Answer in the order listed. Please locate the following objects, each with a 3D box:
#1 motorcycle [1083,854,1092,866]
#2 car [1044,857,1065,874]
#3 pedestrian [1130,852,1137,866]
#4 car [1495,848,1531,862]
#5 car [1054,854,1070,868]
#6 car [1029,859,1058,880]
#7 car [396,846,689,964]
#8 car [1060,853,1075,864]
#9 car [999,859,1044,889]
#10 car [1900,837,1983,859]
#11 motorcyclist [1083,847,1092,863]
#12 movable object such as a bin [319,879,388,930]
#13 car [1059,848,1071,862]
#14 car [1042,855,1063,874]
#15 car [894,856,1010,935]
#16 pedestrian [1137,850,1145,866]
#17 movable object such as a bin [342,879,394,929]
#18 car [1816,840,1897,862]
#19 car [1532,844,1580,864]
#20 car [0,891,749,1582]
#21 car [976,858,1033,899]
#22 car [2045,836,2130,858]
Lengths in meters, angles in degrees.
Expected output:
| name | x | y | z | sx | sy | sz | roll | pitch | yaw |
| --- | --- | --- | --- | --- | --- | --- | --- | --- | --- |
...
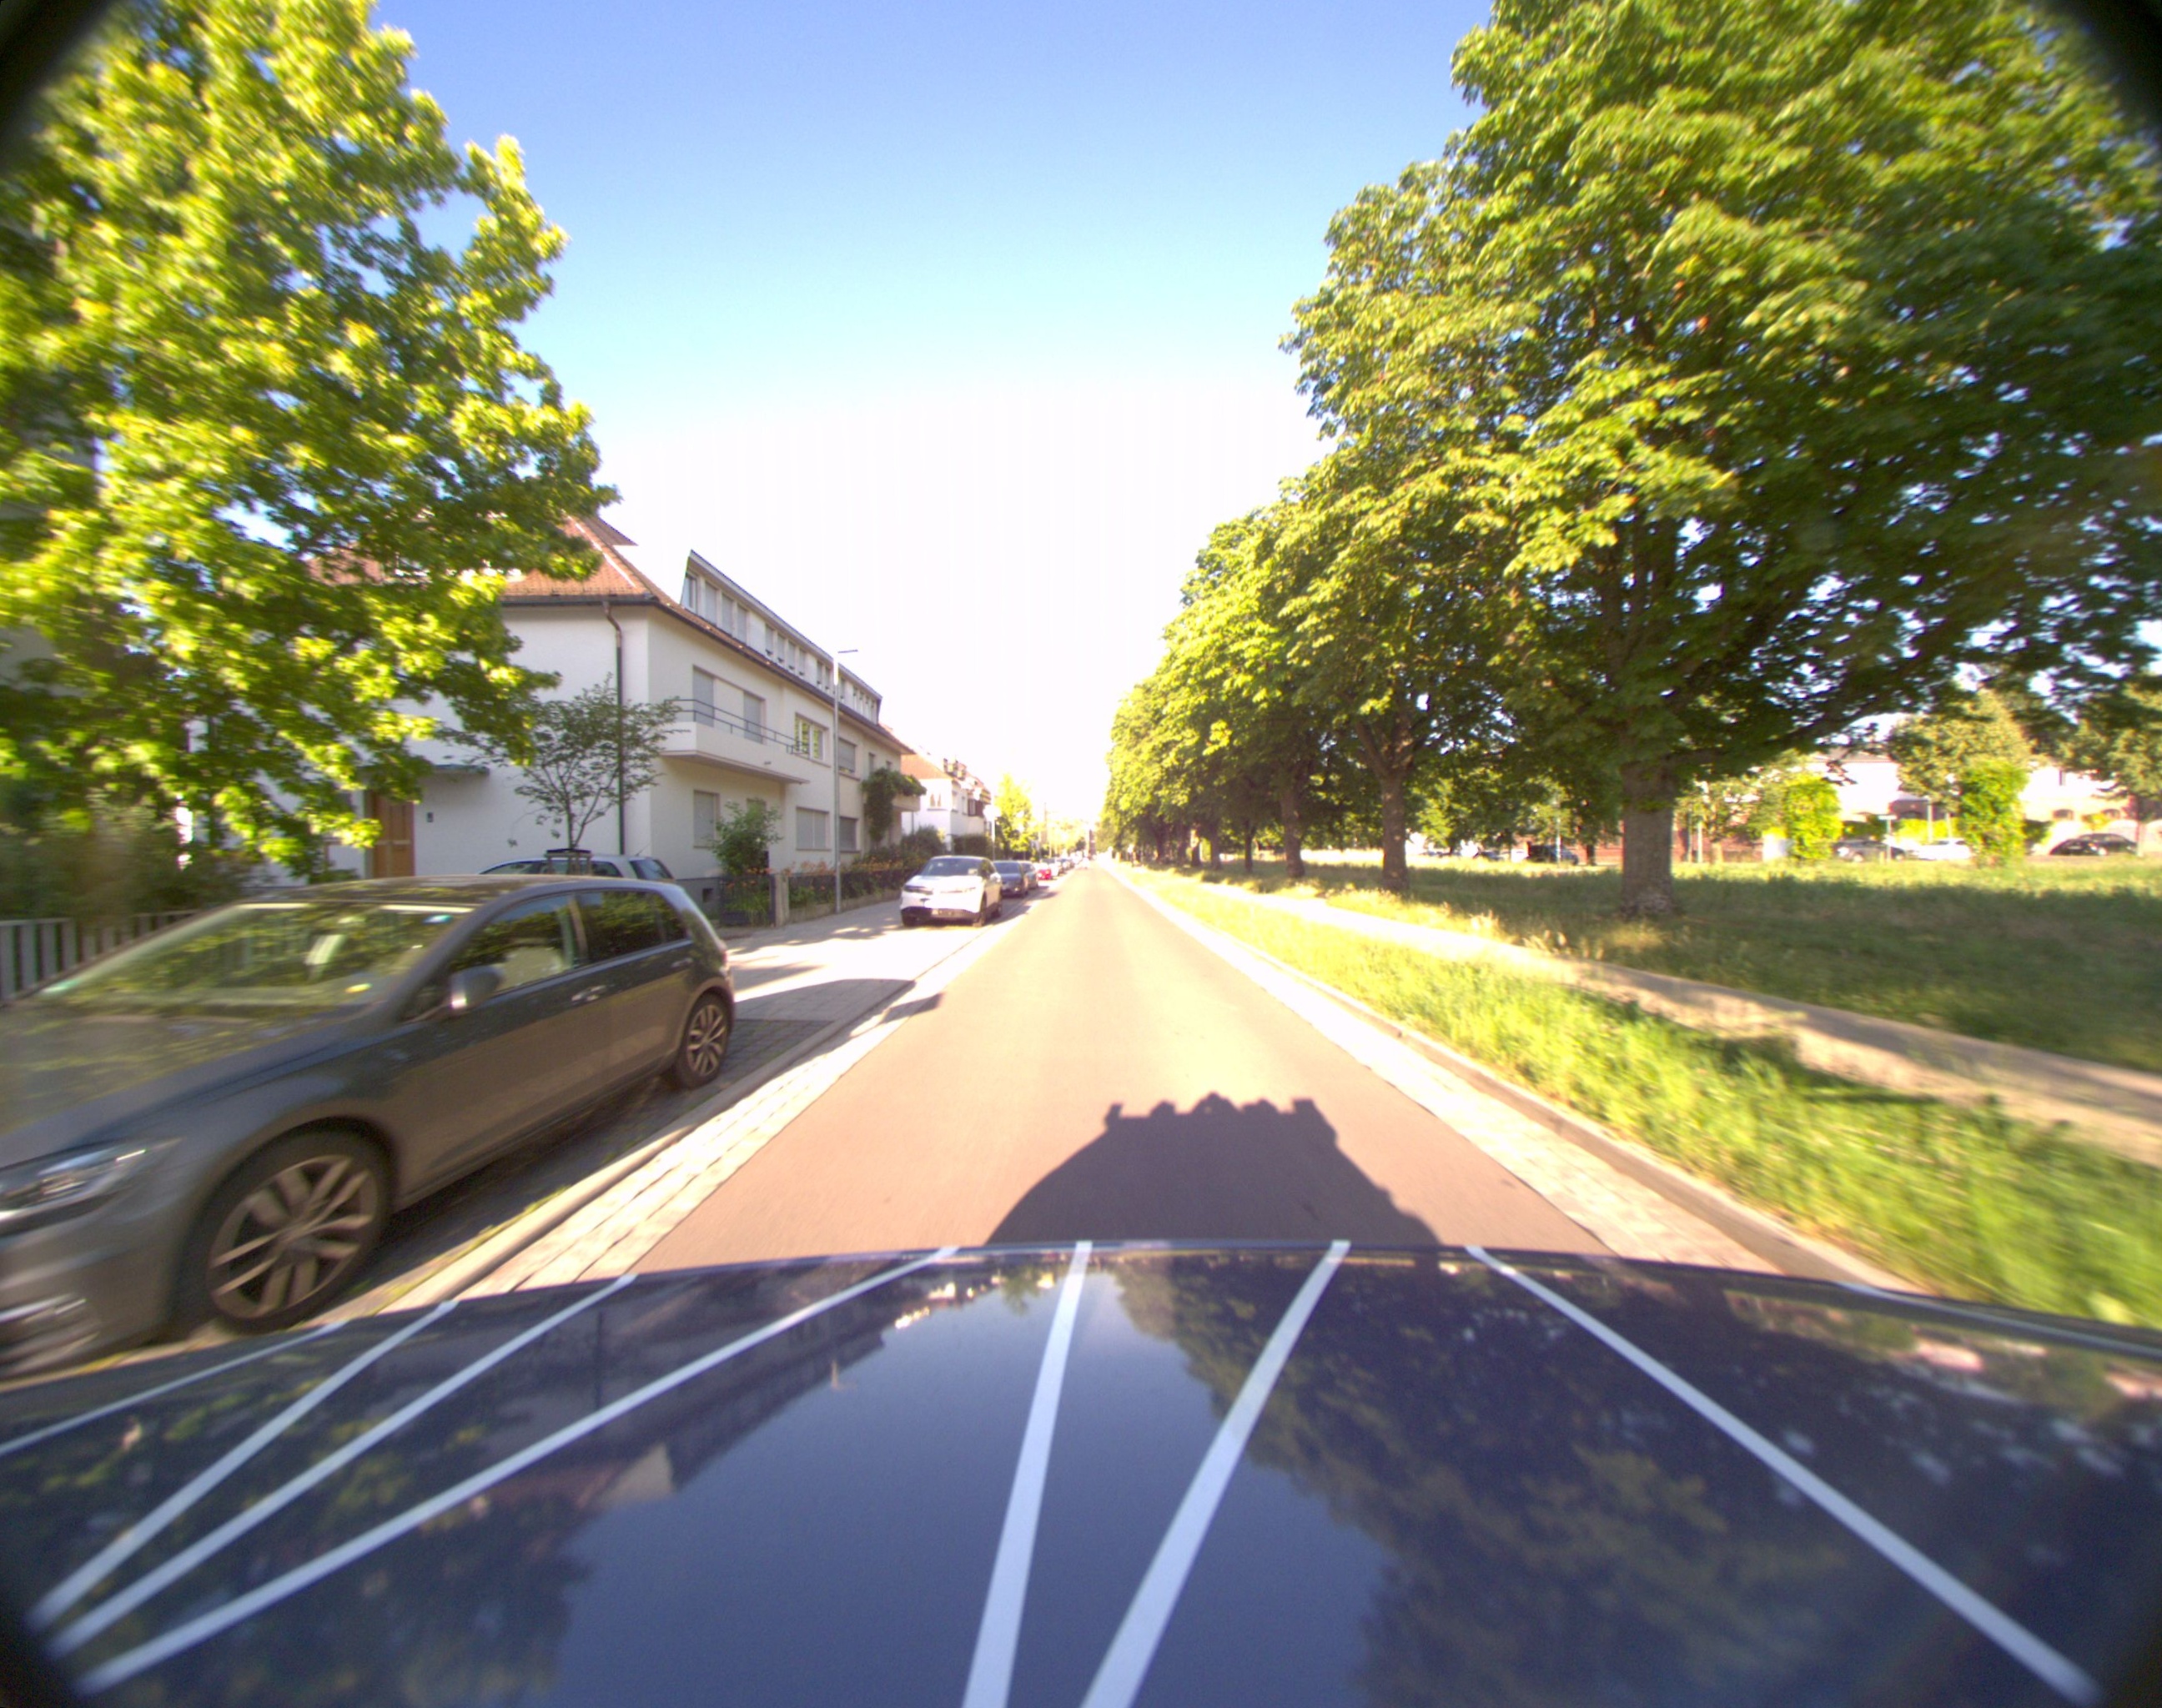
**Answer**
| name | x | y | z | sx | sy | sz | roll | pitch | yaw |
| --- | --- | --- | --- | --- | --- | --- | --- | --- | --- |
| motorcycle | 0.818 | 0.735 | 93.429 | 1.077 | 1.373 | 2.463 | -3 | 1 | 0 |
| car | -2.478 | 1.019 | 71.330 | 1.746 | 1.471 | 4.056 | -2 | 0 | 0 |
| pedestrian | 6.331 | 0.614 | 91.841 | 0.625 | 1.621 | 0.606 | -2 | 2 | 27 |
| car | 43.526 | 0.115 | 76.594 | 1.585 | 1.267 | 3.580 | -2 | 1 | 1 |
| car | -2.146 | 0.784 | 87.144 | 1.665 | 1.526 | 3.833 | 0 | 1 | 2 |
| car | -2.507 | 1.048 | 51.616 | 1.702 | 1.250 | 3.879 | 0 | 1 | 1 |
| car | -9.780 | 0.891 | 14.090 | 3.994 | 1.834 | 1.815 | -3 | -1 | -5 |
| car | -1.908 | 0.644 | 106.997 | 1.844 | 1.471 | 3.764 | -2 | 0 | 1 |
| car | -2.881 | 0.942 | 37.542 | 1.798 | 1.372 | 4.078 | 1 | 0 | 1 |
| car | 57.349 | -0.398 | 50.668 | 3.636 | 1.273 | 1.586 | -2 | 1 | 2 |
| motorcyclist | 0.813 | 0.102 | 93.424 | 0.961 | 2.002 | 1.273 | -3 | 1 | 0 |
| movable object such as a bin | -14.778 | 1.015 | 15.456 | 0.653 | 0.954 | 0.733 | -2 | 1 | 1 |
| car | -2.584 | 0.214 | 123.773 | 1.844 | 2.196 | 3.764 | -2 | 0 | 1 |
| car | -2.278 | 0.867 | 61.899 | 1.508 | 1.471 | 3.492 | 0 | 0 | 1 |
| car | -3.020 | 0.908 | 18.818 | 1.910 | 1.698 | 4.576 | 1 | 0 | 2 |
| pedestrian | 7.193 | 0.479 | 91.471 | 0.625 | 1.841 | 0.606 | -1 | 2 | 40 |
| movable object such as a bin | -14.104 | 0.973 | 15.038 | 0.508 | 0.939 | 0.507 | -2 | 0 | 1 |
| car | 51.462 | -0.206 | 50.461 | 3.636 | 1.273 | 1.586 | -2 | 1 | 2 |
| car | 37.667 | -0.025 | 60.321 | 1.585 | 1.473 | 3.639 | -2 | 1 | 1 |
| car | -3.413 | 1.003 | 3.545 | 1.798 | 1.474 | 4.124 | 1 | -1 | 2 |
| car | -2.992 | 0.918 | 30.392 | 1.798 | 1.485 | 4.194 | 1 | 0 | 1 |
| car | 68.623 | -0.479 | 51.833 | 3.636 | 1.273 | 1.586 | -2 | 1 | 2 |
